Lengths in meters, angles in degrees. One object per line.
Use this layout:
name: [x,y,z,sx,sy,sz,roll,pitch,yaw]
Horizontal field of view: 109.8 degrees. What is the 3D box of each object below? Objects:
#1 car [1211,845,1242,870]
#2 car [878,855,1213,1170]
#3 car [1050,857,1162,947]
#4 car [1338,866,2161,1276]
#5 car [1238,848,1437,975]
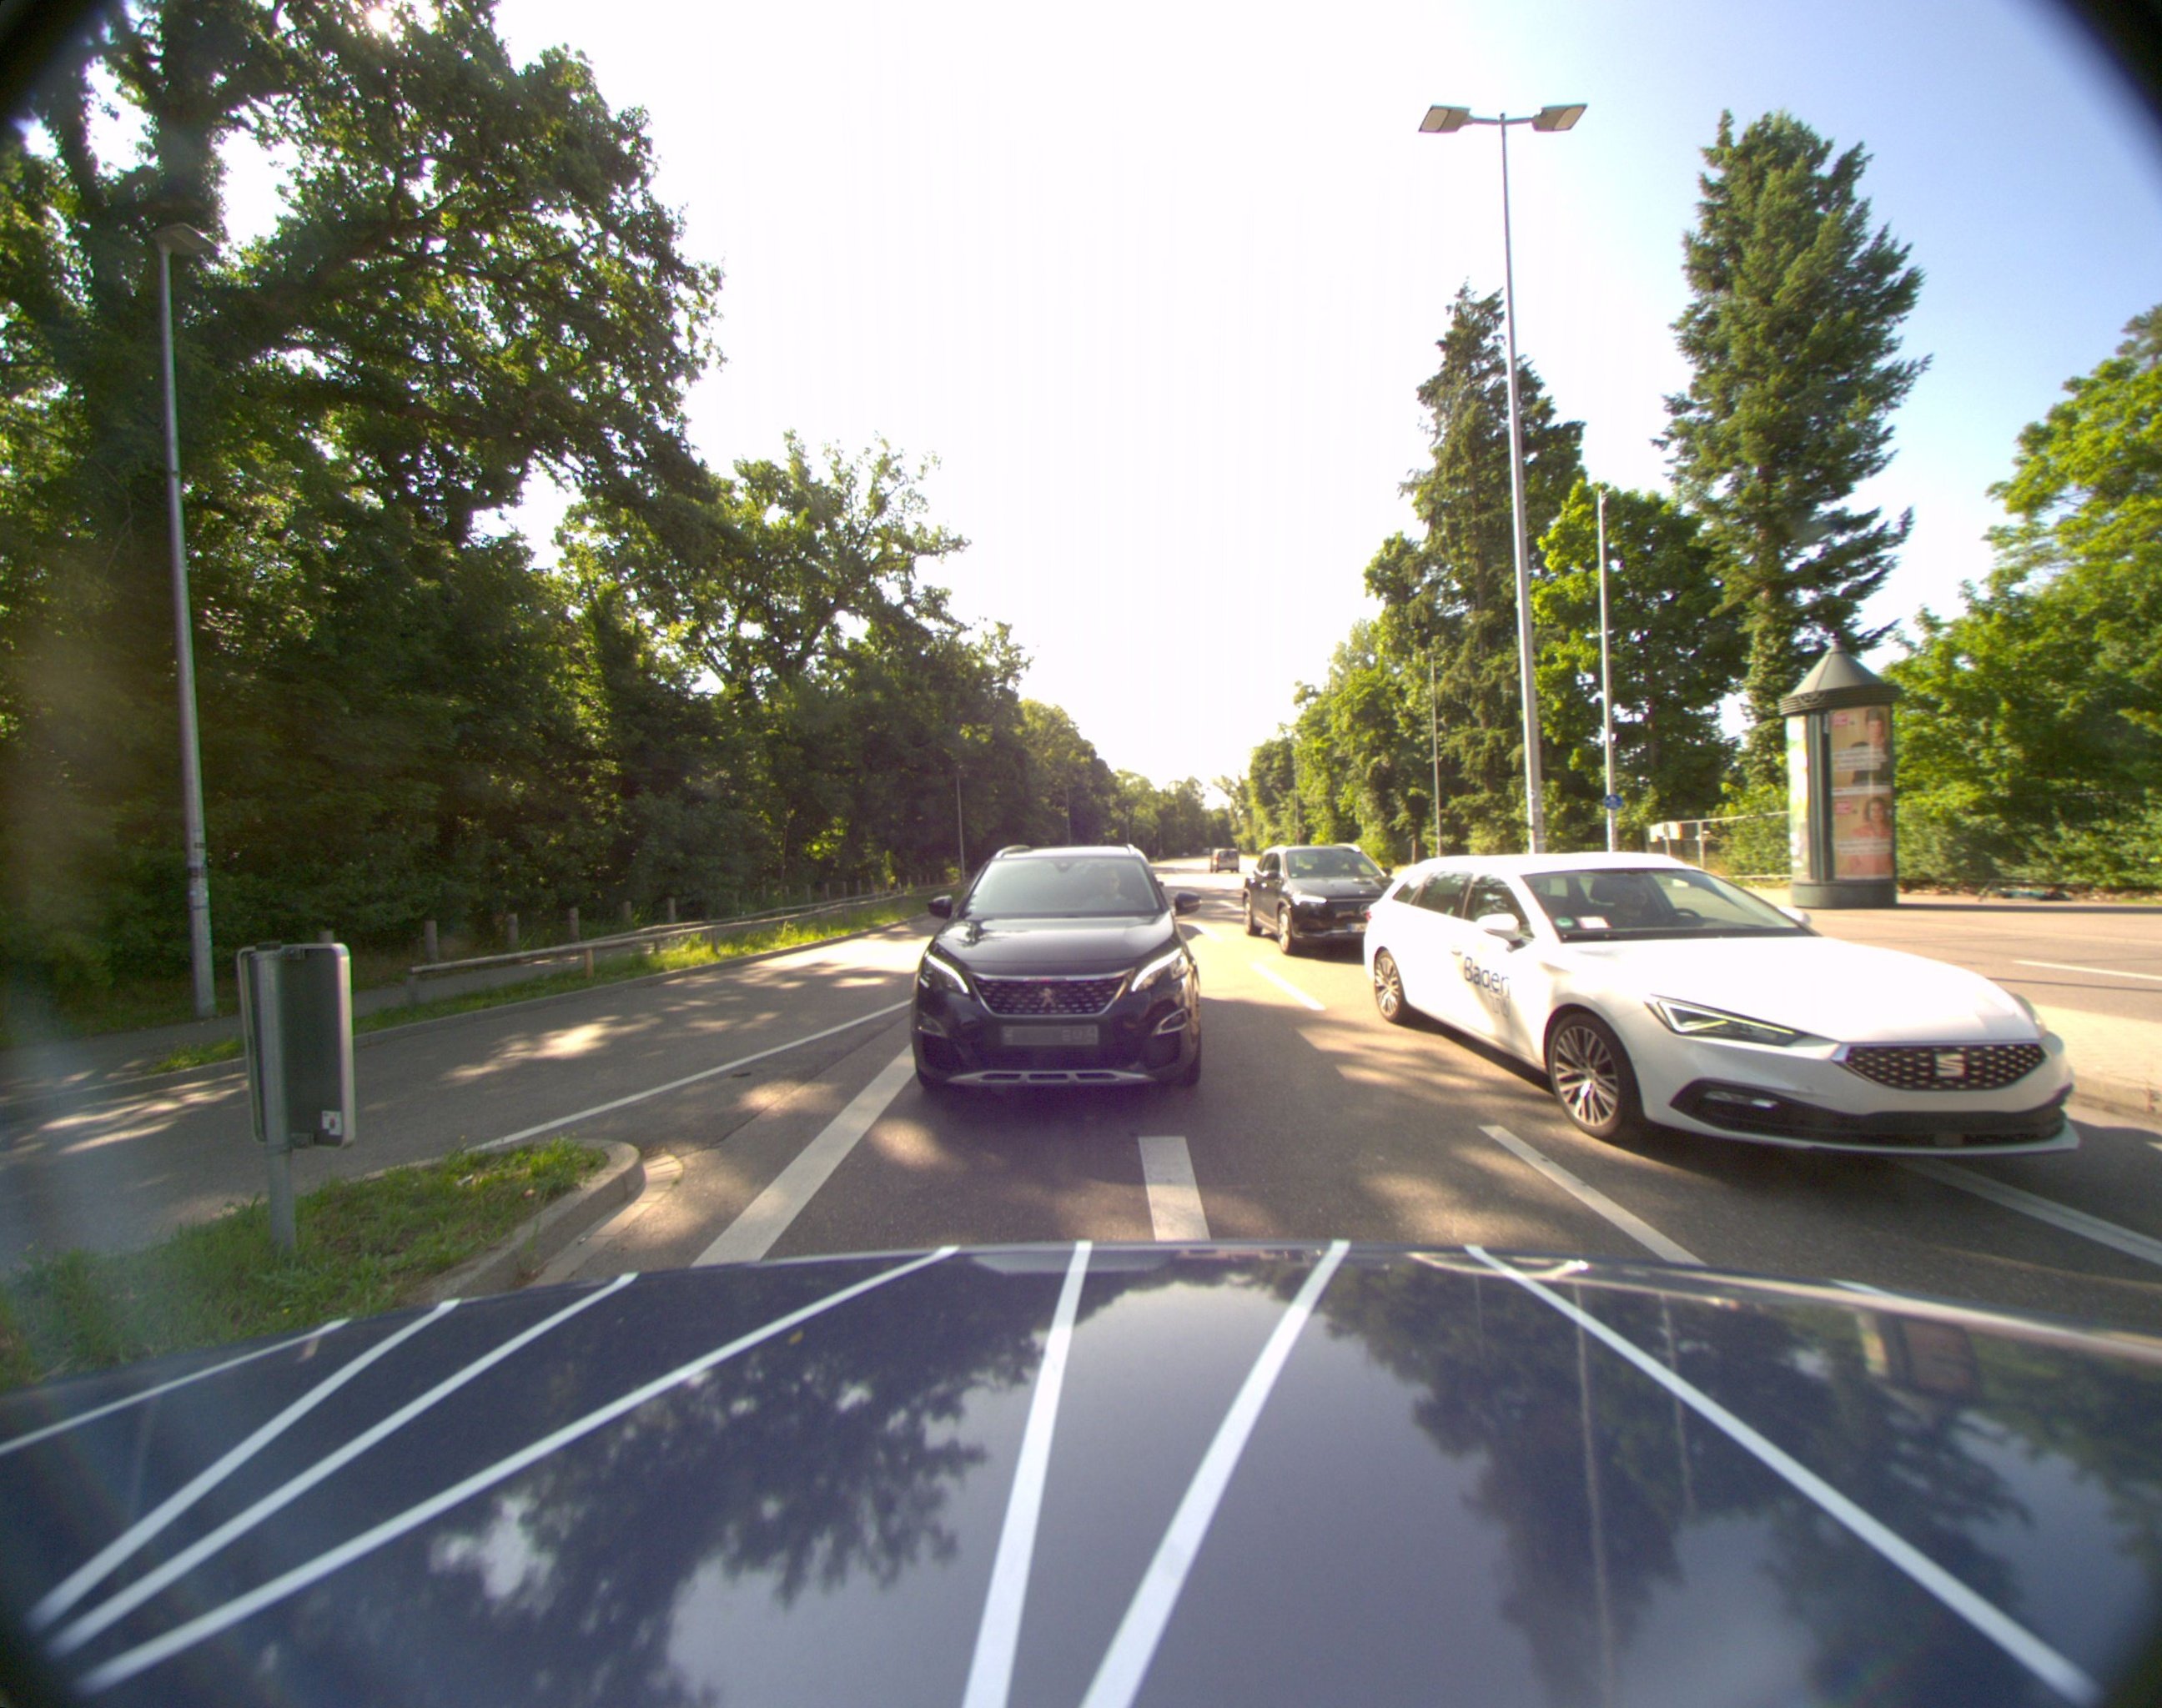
car: [11.518,0.274,60.241,1.876,1.849,4.001,-2,0,4]
car: [-0.159,0.847,6.180,1.702,1.581,4.319,-2,0,1]
car: [0.475,0.864,15.569,1.933,1.499,4.000,-2,0,1]
car: [3.397,0.855,5.204,1.729,1.418,4.720,-1,0,1]
car: [3.754,0.764,11.978,1.809,1.586,4.274,-2,0,2]
